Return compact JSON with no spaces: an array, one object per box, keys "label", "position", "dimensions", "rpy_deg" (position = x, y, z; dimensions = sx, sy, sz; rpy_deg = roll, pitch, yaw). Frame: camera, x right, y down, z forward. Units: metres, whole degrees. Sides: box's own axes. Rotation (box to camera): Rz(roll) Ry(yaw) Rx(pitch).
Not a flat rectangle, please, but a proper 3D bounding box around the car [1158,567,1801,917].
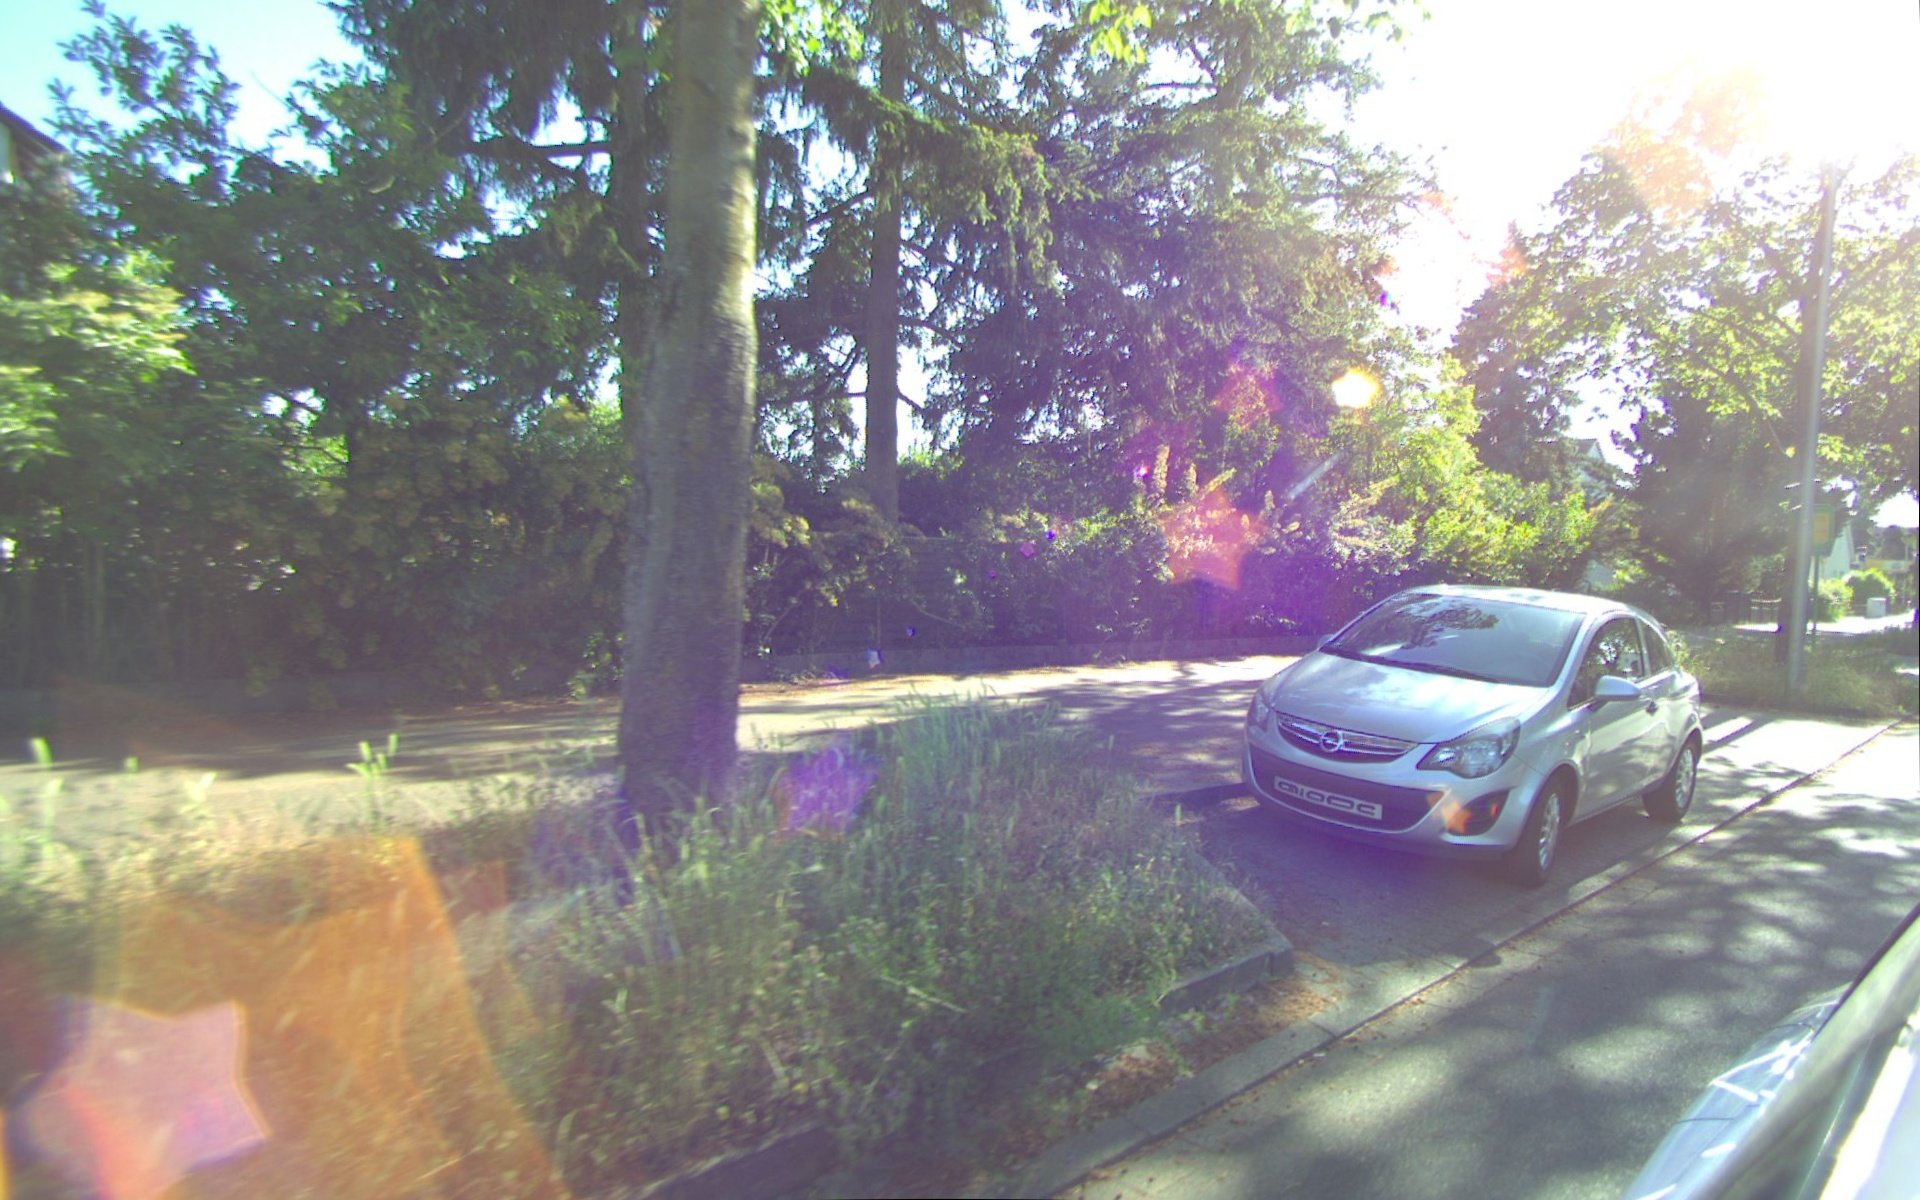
[{"label":"car","position":[3.427,0.590,6.539],"dimensions":[3.923,1.528,2.002],"rpy_deg":[-1,4,-34]}]
